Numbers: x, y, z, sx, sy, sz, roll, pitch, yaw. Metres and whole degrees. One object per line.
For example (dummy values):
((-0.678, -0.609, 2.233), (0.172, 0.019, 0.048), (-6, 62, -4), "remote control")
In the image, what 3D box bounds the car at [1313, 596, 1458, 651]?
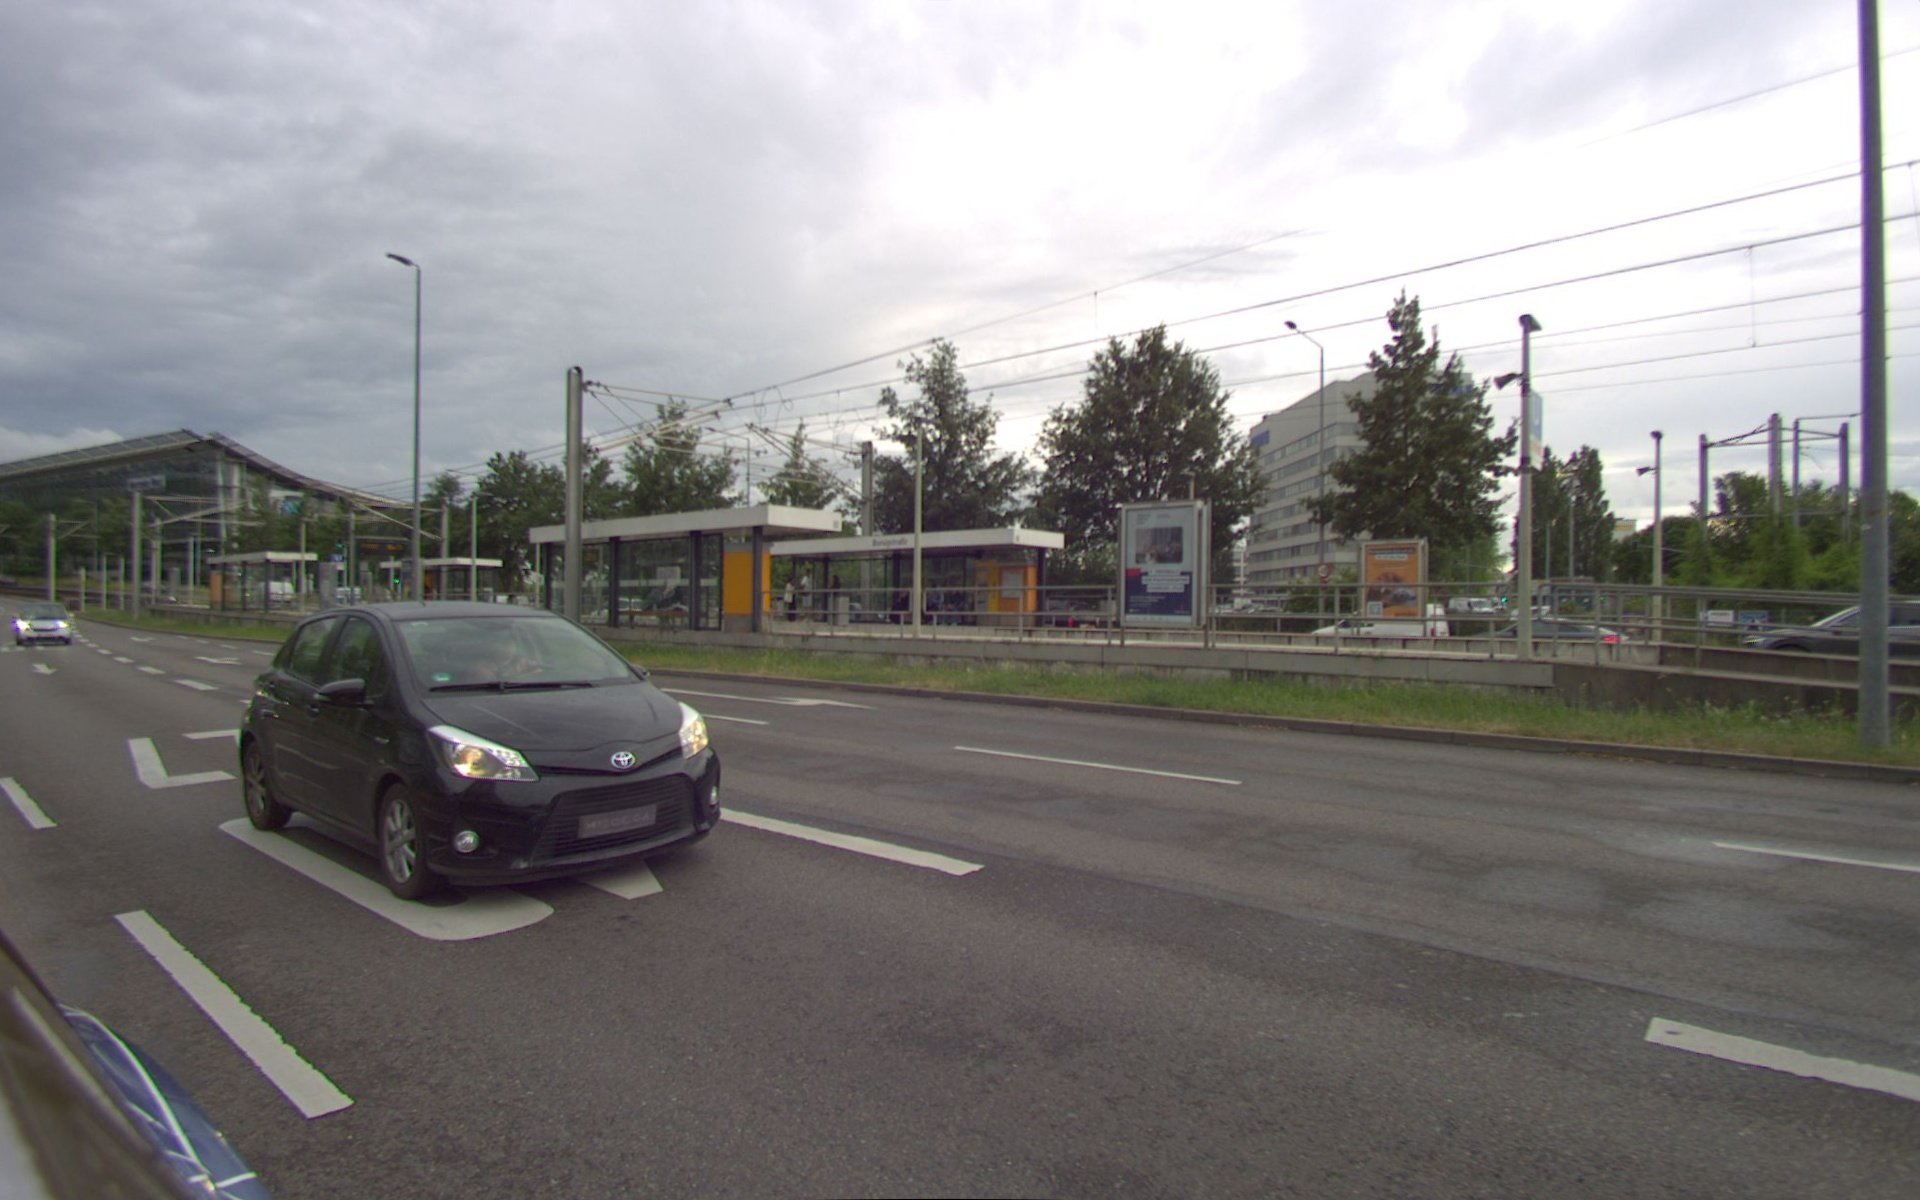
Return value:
((13.710, 0.706, 32.741), (4.079, 1.639, 1.556), (1, 2, 39), "car")

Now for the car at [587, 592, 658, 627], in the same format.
((-17.364, 0.464, 52.006), (4.267, 1.679, 1.512), (1, 2, 41), "car")

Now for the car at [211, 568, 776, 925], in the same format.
((-3.068, 0.650, 6.286), (3.902, 1.534, 1.676), (-1, 1, 40), "car")

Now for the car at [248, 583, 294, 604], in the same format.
((-59.033, -0.567, 86.714), (5.026, 1.744, 1.974), (1, 2, 40), "car")

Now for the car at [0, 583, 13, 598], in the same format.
((-119.980, -1.187, 126.390), (3.995, 1.861, 1.975), (1, 2, 38), "car")

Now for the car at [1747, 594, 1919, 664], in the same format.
((18.597, 0.548, 20.297), (4.410, 1.273, 1.889), (1, 2, 39), "car")

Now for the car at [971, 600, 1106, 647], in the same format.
((2.821, 0.793, 37.069), (4.931, 1.509, 1.660), (1, 2, 42), "car")

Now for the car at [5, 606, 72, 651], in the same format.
((-33.771, 0.998, 37.142), (1.714, 1.489, 4.005), (-2, 1, -42), "car")

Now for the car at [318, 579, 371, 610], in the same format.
((-47.148, -0.451, 77.477), (5.142, 2.231, 1.973), (1, 2, 42), "car")

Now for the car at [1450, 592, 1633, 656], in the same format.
((15.395, 0.569, 26.895), (3.996, 1.514, 1.769), (1, 2, 39), "car")
